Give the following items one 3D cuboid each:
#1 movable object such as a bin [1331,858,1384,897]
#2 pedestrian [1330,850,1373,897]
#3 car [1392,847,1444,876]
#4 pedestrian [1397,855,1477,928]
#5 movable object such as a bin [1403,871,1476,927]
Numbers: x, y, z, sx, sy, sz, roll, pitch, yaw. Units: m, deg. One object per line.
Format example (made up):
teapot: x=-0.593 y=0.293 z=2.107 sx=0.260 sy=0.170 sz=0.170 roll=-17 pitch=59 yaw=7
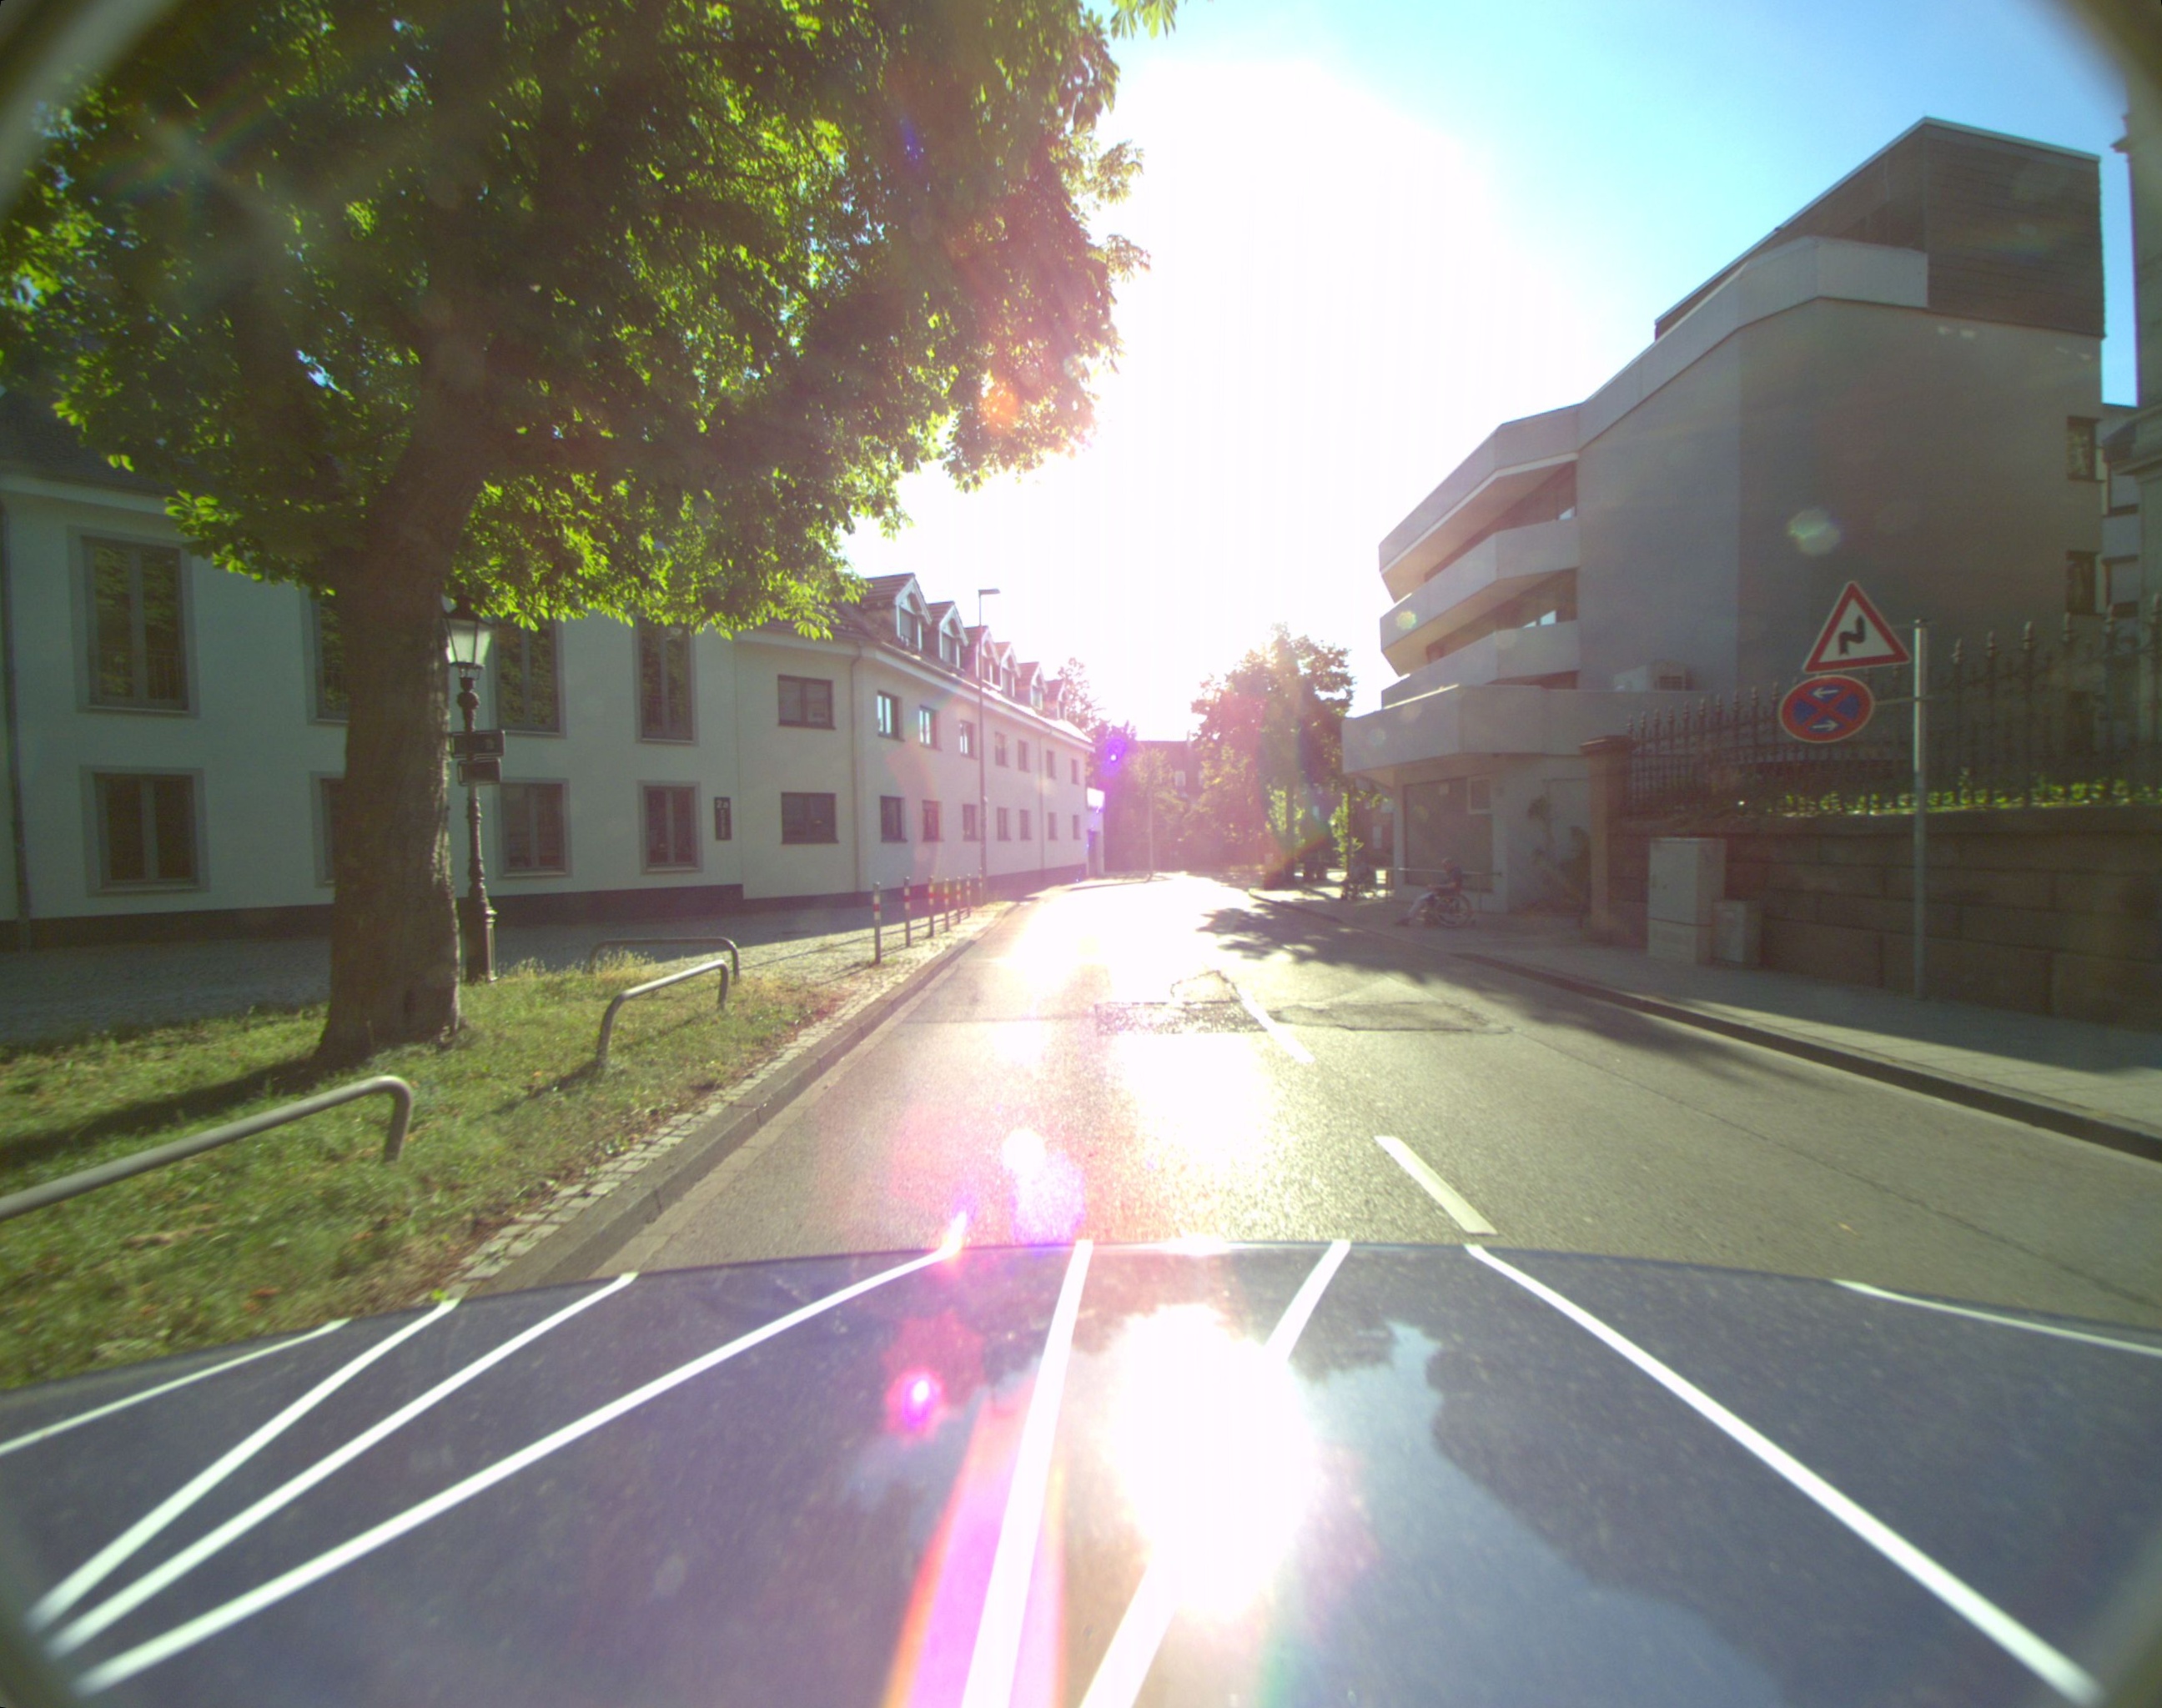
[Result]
movable object such as a bin: x=7.443 y=0.623 z=20.449 sx=1.038 sy=0.923 sz=0.840 roll=-4 pitch=2 yaw=-6
pedestrian: x=7.265 y=0.506 z=20.436 sx=0.743 sy=1.179 sz=0.840 roll=-4 pitch=2 yaw=-6
car: x=29.870 y=0.614 z=67.492 sx=2.001 sy=2.346 sz=4.202 roll=-3 pitch=3 yaw=-14
pedestrian: x=6.566 y=0.680 z=13.998 sx=1.155 sy=1.222 sz=0.842 roll=-2 pitch=2 yaw=35
movable object such as a bin: x=6.598 y=0.814 z=13.978 sx=1.035 sy=0.923 sz=0.842 roll=-2 pitch=2 yaw=35
